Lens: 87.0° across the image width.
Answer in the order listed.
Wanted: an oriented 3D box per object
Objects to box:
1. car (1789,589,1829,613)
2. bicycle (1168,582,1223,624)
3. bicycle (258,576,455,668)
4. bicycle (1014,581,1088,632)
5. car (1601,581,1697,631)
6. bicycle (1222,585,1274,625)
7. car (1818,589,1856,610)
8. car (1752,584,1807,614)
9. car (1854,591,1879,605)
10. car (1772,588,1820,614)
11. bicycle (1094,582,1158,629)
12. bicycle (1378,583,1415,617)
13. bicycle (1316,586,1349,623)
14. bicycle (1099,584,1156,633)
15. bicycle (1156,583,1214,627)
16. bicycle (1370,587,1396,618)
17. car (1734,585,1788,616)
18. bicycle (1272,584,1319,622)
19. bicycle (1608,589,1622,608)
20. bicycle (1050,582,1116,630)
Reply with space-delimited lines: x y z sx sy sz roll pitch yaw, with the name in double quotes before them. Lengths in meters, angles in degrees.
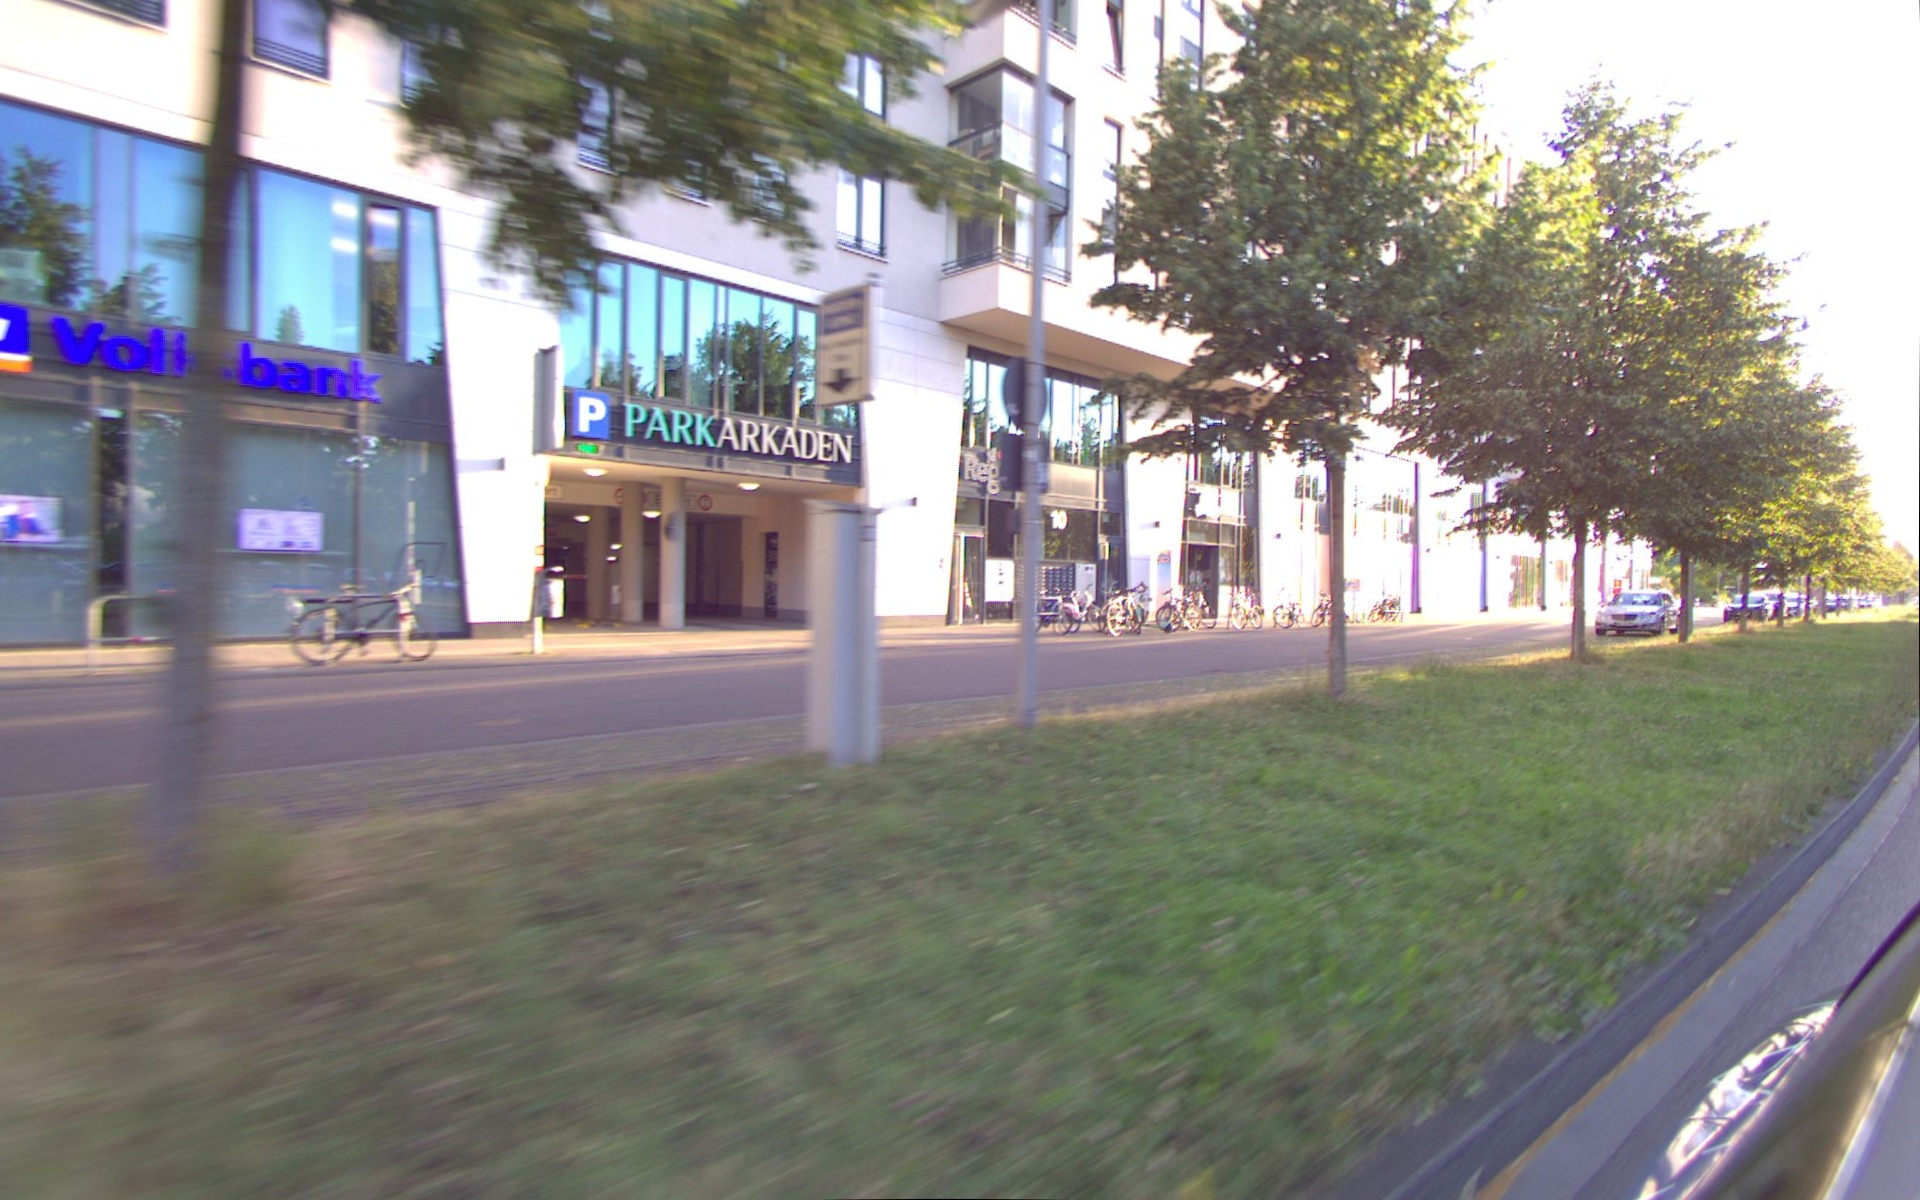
"car" 56.785 0.079 67.660 1.809 1.519 3.896 2 1 44
"bicycle" 6.404 0.077 27.432 0.533 1.074 1.827 4 3 45
"bicycle" -7.504 0.246 12.654 2.022 1.052 0.653 0 1 -45
"bicycle" 2.026 0.134 22.384 0.533 1.074 1.827 4 3 45
"car" 22.583 0.174 33.111 1.809 1.519 4.748 2 1 44
"bicycle" 8.055 0.135 28.225 0.533 1.074 1.827 4 3 45
"car" 72.641 -0.040 83.829 4.293 1.519 1.812 0 4 -42
"car" 46.178 -0.053 56.975 1.953 1.644 4.744 -1 -1 44
"car" 103.940 -0.271 116.002 1.920 1.519 5.325 2 1 44
"car" 51.285 0.037 62.039 1.921 1.519 4.930 2 1 44
"bicycle" 4.016 0.127 24.402 0.533 1.074 1.827 2 1 45
"bicycle" 15.594 0.005 36.106 1.752 1.178 0.538 0 3 -45
"bicycle" 11.413 0.111 31.014 0.531 1.074 1.835 4 2 32
"bicycle" 3.882 0.184 23.319 0.532 1.074 1.758 4 2 35
"bicycle" 5.810 0.117 26.079 0.533 1.074 1.827 4 3 45
"bicycle" 15.231 0.073 36.436 0.531 1.074 1.835 4 2 32
"car" 41.047 0.021 51.833 4.163 1.520 1.725 0 0 -45
"bicycle" 9.961 0.086 30.007 0.533 1.074 1.827 4 3 45
"bicycle" 38.336 -0.076 59.211 0.532 1.073 1.589 2 1 39
"bicycle" 2.951 0.136 24.164 0.533 1.074 1.827 4 3 45
